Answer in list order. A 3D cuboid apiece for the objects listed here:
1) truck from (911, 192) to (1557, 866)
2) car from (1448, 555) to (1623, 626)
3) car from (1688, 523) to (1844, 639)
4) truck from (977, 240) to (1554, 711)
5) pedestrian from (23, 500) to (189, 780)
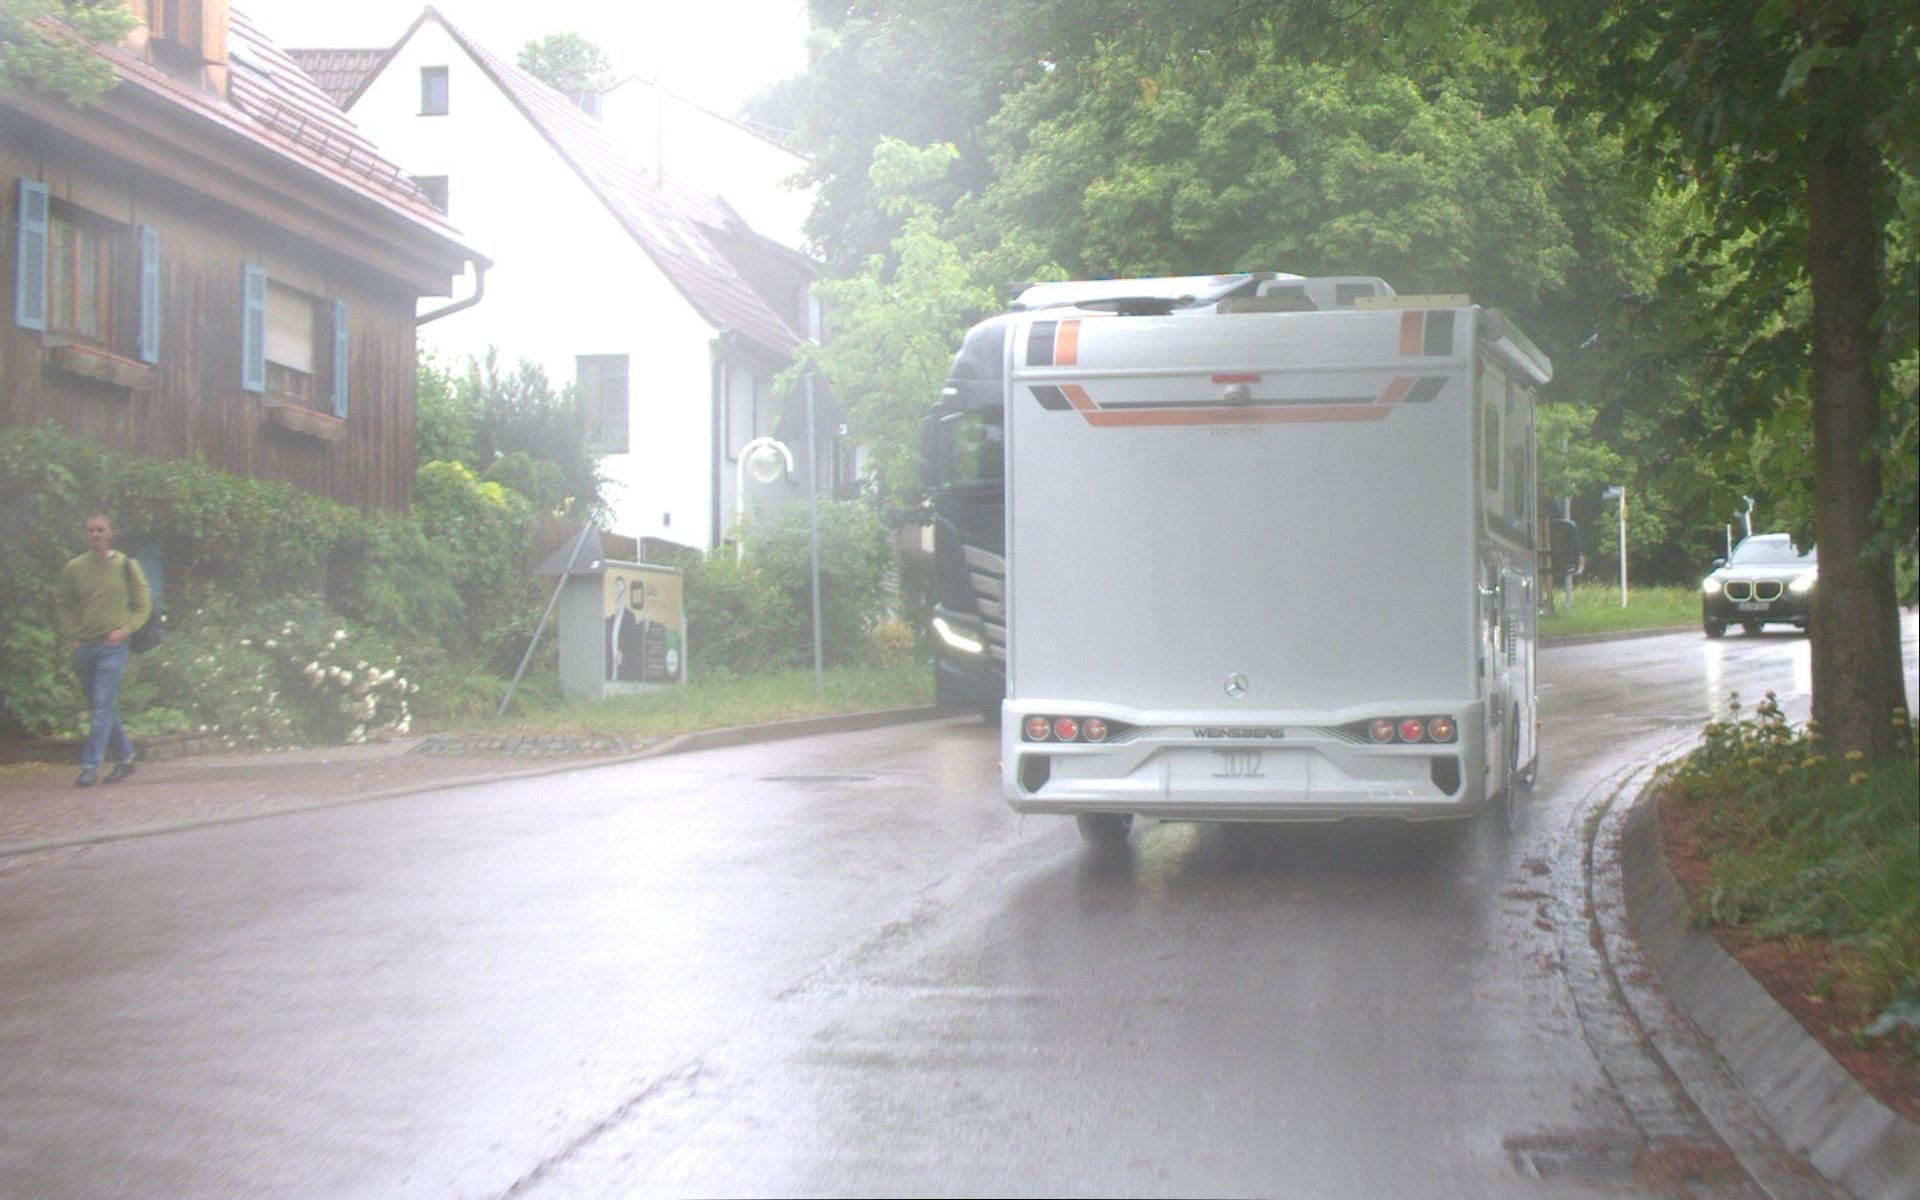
[{"bbox_3d":[1.739,-0.386,18.516,2.696,2.975,6.234,0,1,12],"label":"truck"},{"bbox_3d":[14.308,-0.239,85.631,3.986,1.756,2.000,0,0,-2],"label":"car"},{"bbox_3d":[13.297,-0.303,56.584,1.837,1.844,3.995,0,0,23],"label":"car"},{"bbox_3d":[3.482,-1.164,35.439,2.841,4.152,9.964,0,1,24],"label":"truck"},{"bbox_3d":[-5.798,0.263,23.381,0.794,1.861,0.916,0,0,10],"label":"pedestrian"}]
